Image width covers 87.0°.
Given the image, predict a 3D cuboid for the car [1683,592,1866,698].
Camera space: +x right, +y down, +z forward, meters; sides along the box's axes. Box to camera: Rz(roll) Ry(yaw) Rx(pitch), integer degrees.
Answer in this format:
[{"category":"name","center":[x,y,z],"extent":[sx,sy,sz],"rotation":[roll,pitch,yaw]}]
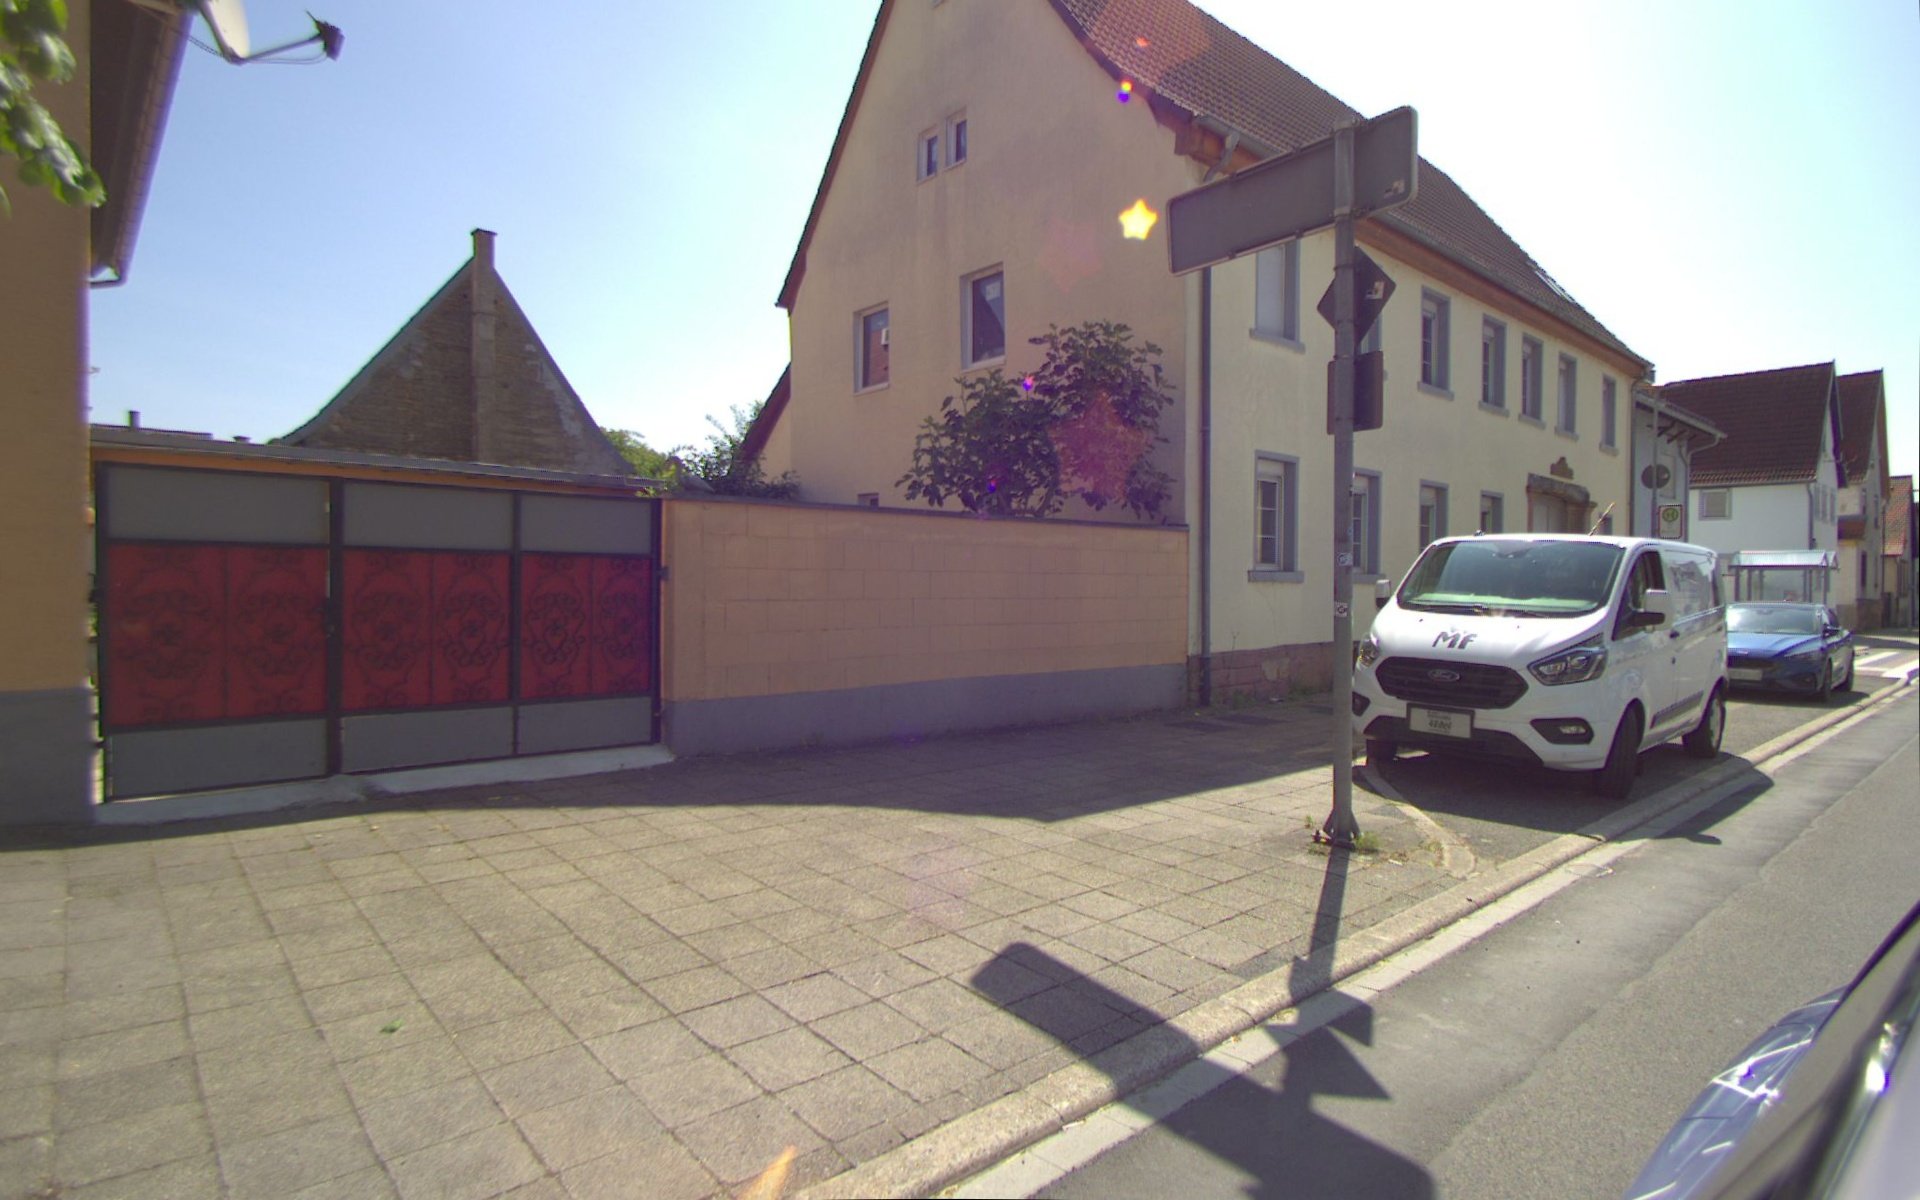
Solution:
[{"category":"car","center":[12.921,0.613,15.979],"extent":[3.919,1.445,1.730],"rotation":[0,1,-43]}]

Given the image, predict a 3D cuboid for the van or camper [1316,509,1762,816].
[{"category":"van or camper","center":[5.413,0.367,9.056],"extent":[5.256,1.978,1.996],"rotation":[0,1,-43]}]
